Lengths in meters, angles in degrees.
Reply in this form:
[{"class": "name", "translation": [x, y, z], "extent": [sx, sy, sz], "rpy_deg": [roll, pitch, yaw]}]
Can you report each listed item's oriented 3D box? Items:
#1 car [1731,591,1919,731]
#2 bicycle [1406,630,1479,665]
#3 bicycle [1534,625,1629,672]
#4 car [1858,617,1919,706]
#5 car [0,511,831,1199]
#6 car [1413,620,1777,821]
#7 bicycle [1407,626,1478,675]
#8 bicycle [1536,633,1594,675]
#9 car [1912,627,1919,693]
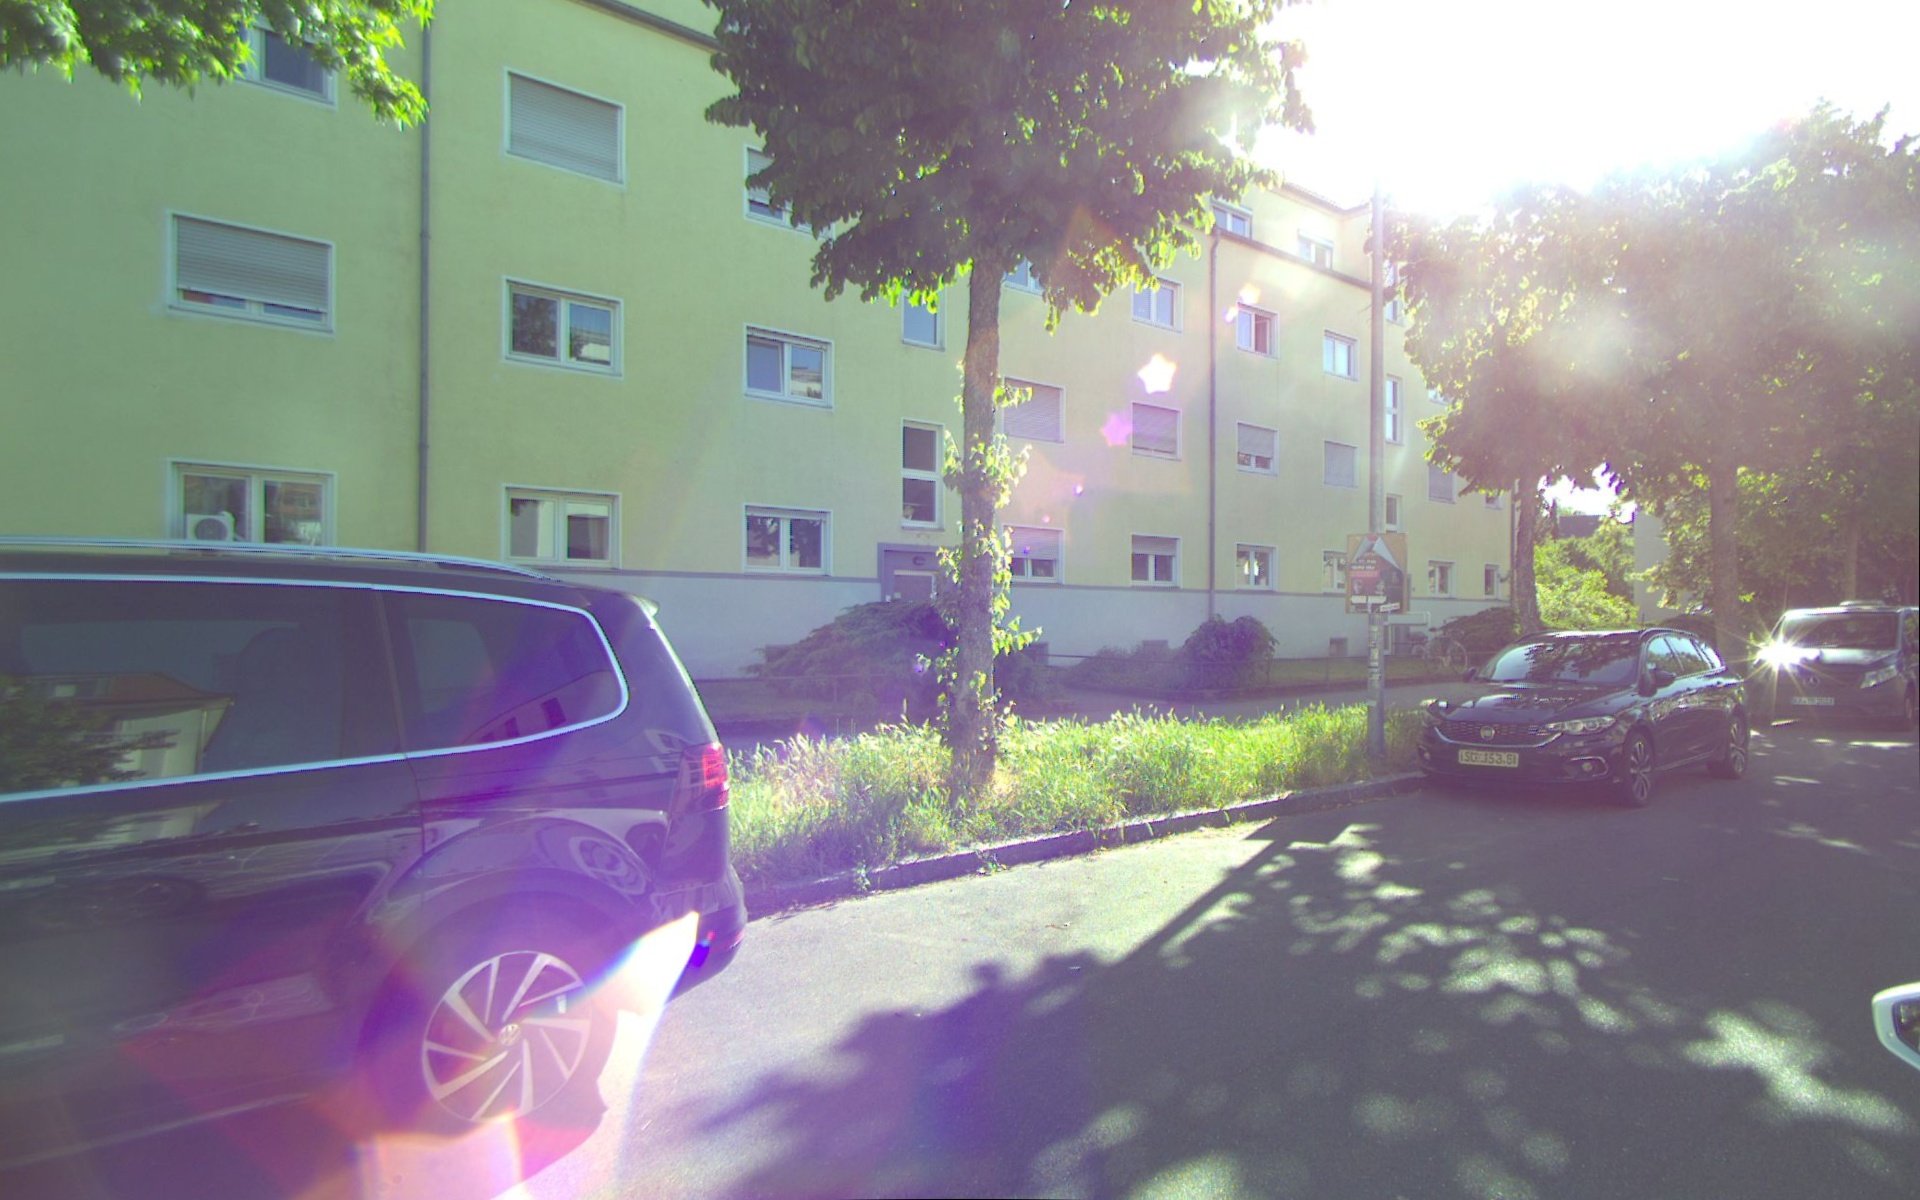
[{"class": "car", "translation": [14.408, 0.916, 16.181], "extent": [5.094, 1.929, 1.814], "rpy_deg": [1, -3, -37]}, {"class": "bicycle", "translation": [14.515, 1.417, 30.258], "extent": [0.592, 1.005, 1.903], "rpy_deg": [1, -1, -43]}, {"class": "bicycle", "translation": [16.982, 1.302, 27.482], "extent": [2.122, 1.224, 0.686], "rpy_deg": [-1, -2, 43]}, {"class": "car", "translation": [19.075, 1.158, 19.684], "extent": [4.194, 1.632, 1.599], "rpy_deg": [1, -2, -40]}, {"class": "car", "translation": [-2.950, 0.702, 2.663], "extent": [4.931, 1.702, 1.836], "rpy_deg": [1, -4, -38]}, {"class": "car", "translation": [6.417, 1.018, 9.914], "extent": [4.735, 1.568, 1.496], "rpy_deg": [1, -3, -38]}, {"class": "bicycle", "translation": [10.409, 1.077, 21.653], "extent": [1.910, 1.005, 0.590], "rpy_deg": [1, -1, -37]}, {"class": "bicycle", "translation": [15.159, 1.330, 25.156], "extent": [1.910, 1.005, 0.590], "rpy_deg": [1, -1, -37]}, {"class": "car", "translation": [23.218, 1.340, 22.924], "extent": [4.022, 1.446, 1.600], "rpy_deg": [1, -2, -38]}]
